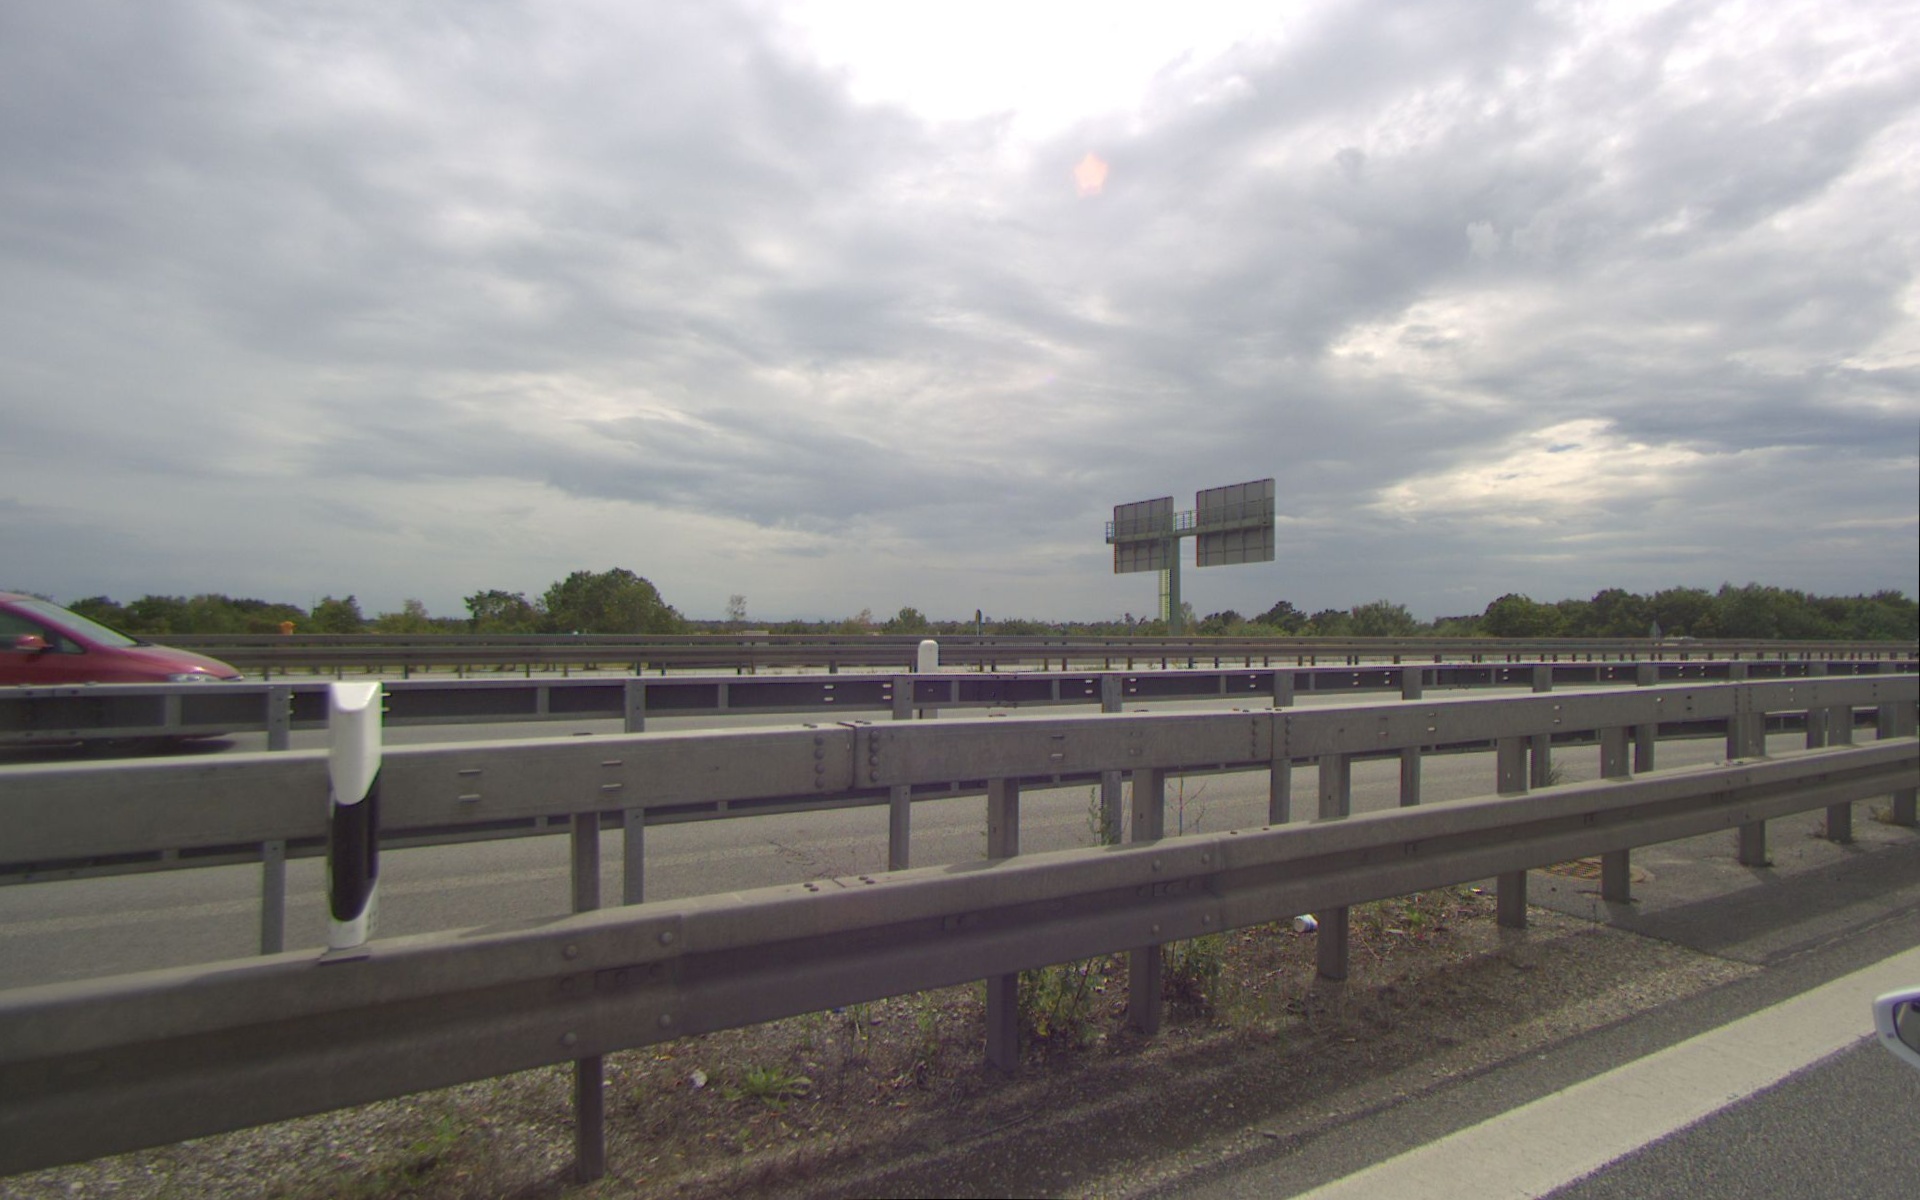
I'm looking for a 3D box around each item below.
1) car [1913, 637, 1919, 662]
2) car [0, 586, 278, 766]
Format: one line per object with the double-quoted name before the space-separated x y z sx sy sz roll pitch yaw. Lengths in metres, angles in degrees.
"car" 67.877 3.393 69.356 4.461 1.644 1.736 0 0 -29
"car" -9.035 0.653 9.336 4.302 1.566 1.811 0 0 -30
